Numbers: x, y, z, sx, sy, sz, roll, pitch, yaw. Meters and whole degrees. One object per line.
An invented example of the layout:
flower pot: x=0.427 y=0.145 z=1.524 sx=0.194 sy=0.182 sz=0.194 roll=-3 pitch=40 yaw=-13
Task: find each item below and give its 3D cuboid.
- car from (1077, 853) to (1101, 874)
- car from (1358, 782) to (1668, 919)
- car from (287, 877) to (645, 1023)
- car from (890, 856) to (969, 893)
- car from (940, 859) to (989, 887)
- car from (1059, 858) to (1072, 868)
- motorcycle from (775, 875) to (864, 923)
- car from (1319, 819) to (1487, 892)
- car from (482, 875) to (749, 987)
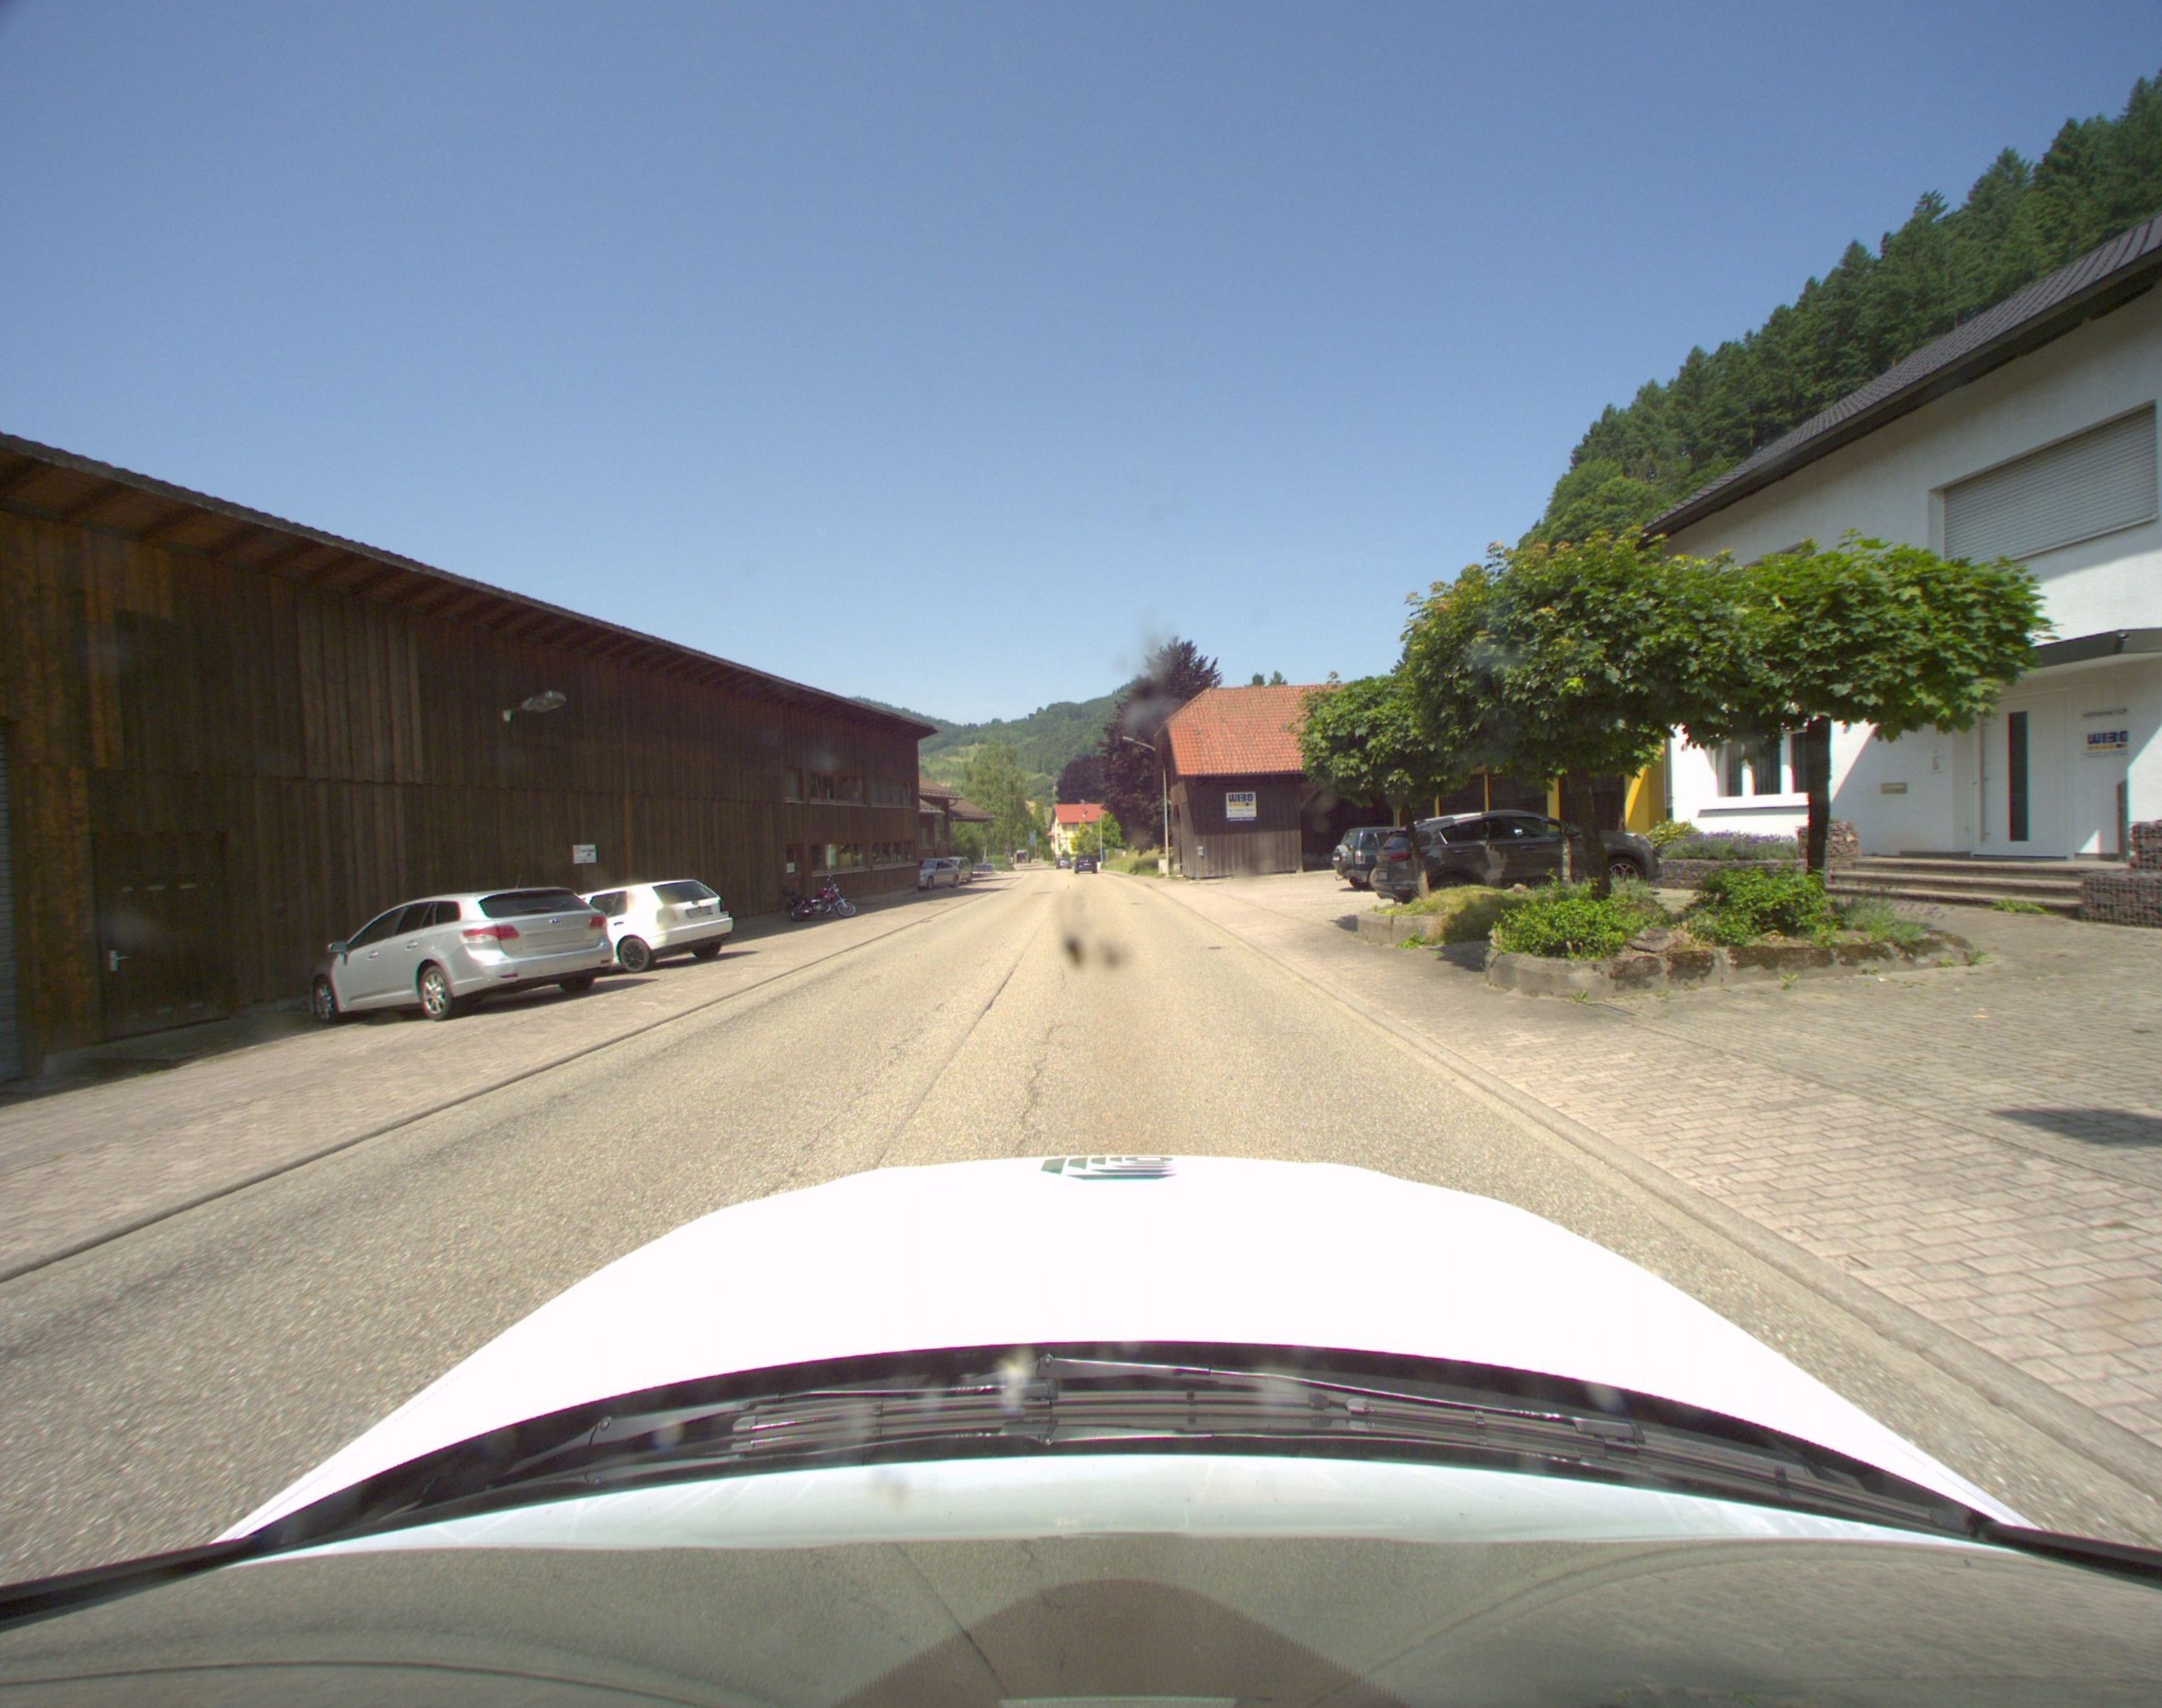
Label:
car: x=0.632 y=0.822 z=70.067 sx=1.914 sy=1.698 sz=3.786 roll=-3 pitch=0 yaw=-1
car: x=7.199 y=-0.054 z=13.936 sx=4.202 sy=1.687 sz=1.779 roll=-7 pitch=0 yaw=4
car: x=-8.200 y=1.280 z=10.824 sx=4.388 sy=1.474 sz=1.936 roll=-6 pitch=-1 yaw=26
car: x=-7.076 y=0.928 z=38.477 sx=1.716 sy=1.454 sz=4.824 roll=-2 pitch=1 yaw=15
car: x=-7.024 y=1.103 z=49.542 sx=1.570 sy=1.570 sz=4.037 roll=1 pitch=1 yaw=13
car: x=-2.082 y=1.236 z=108.299 sx=1.474 sy=1.209 sz=2.381 roll=-3 pitch=0 yaw=-4
motorcycle: x=-7.761 y=1.338 z=24.191 sx=2.393 sy=1.264 sz=0.745 roll=-3 pitch=0 yaw=10
car: x=9.463 y=0.042 z=24.142 sx=4.117 sy=1.832 sz=1.952 roll=-3 pitch=0 yaw=-3
car: x=-7.741 y=1.261 z=13.636 sx=3.631 sy=1.385 sz=1.718 roll=-7 pitch=-1 yaw=16
